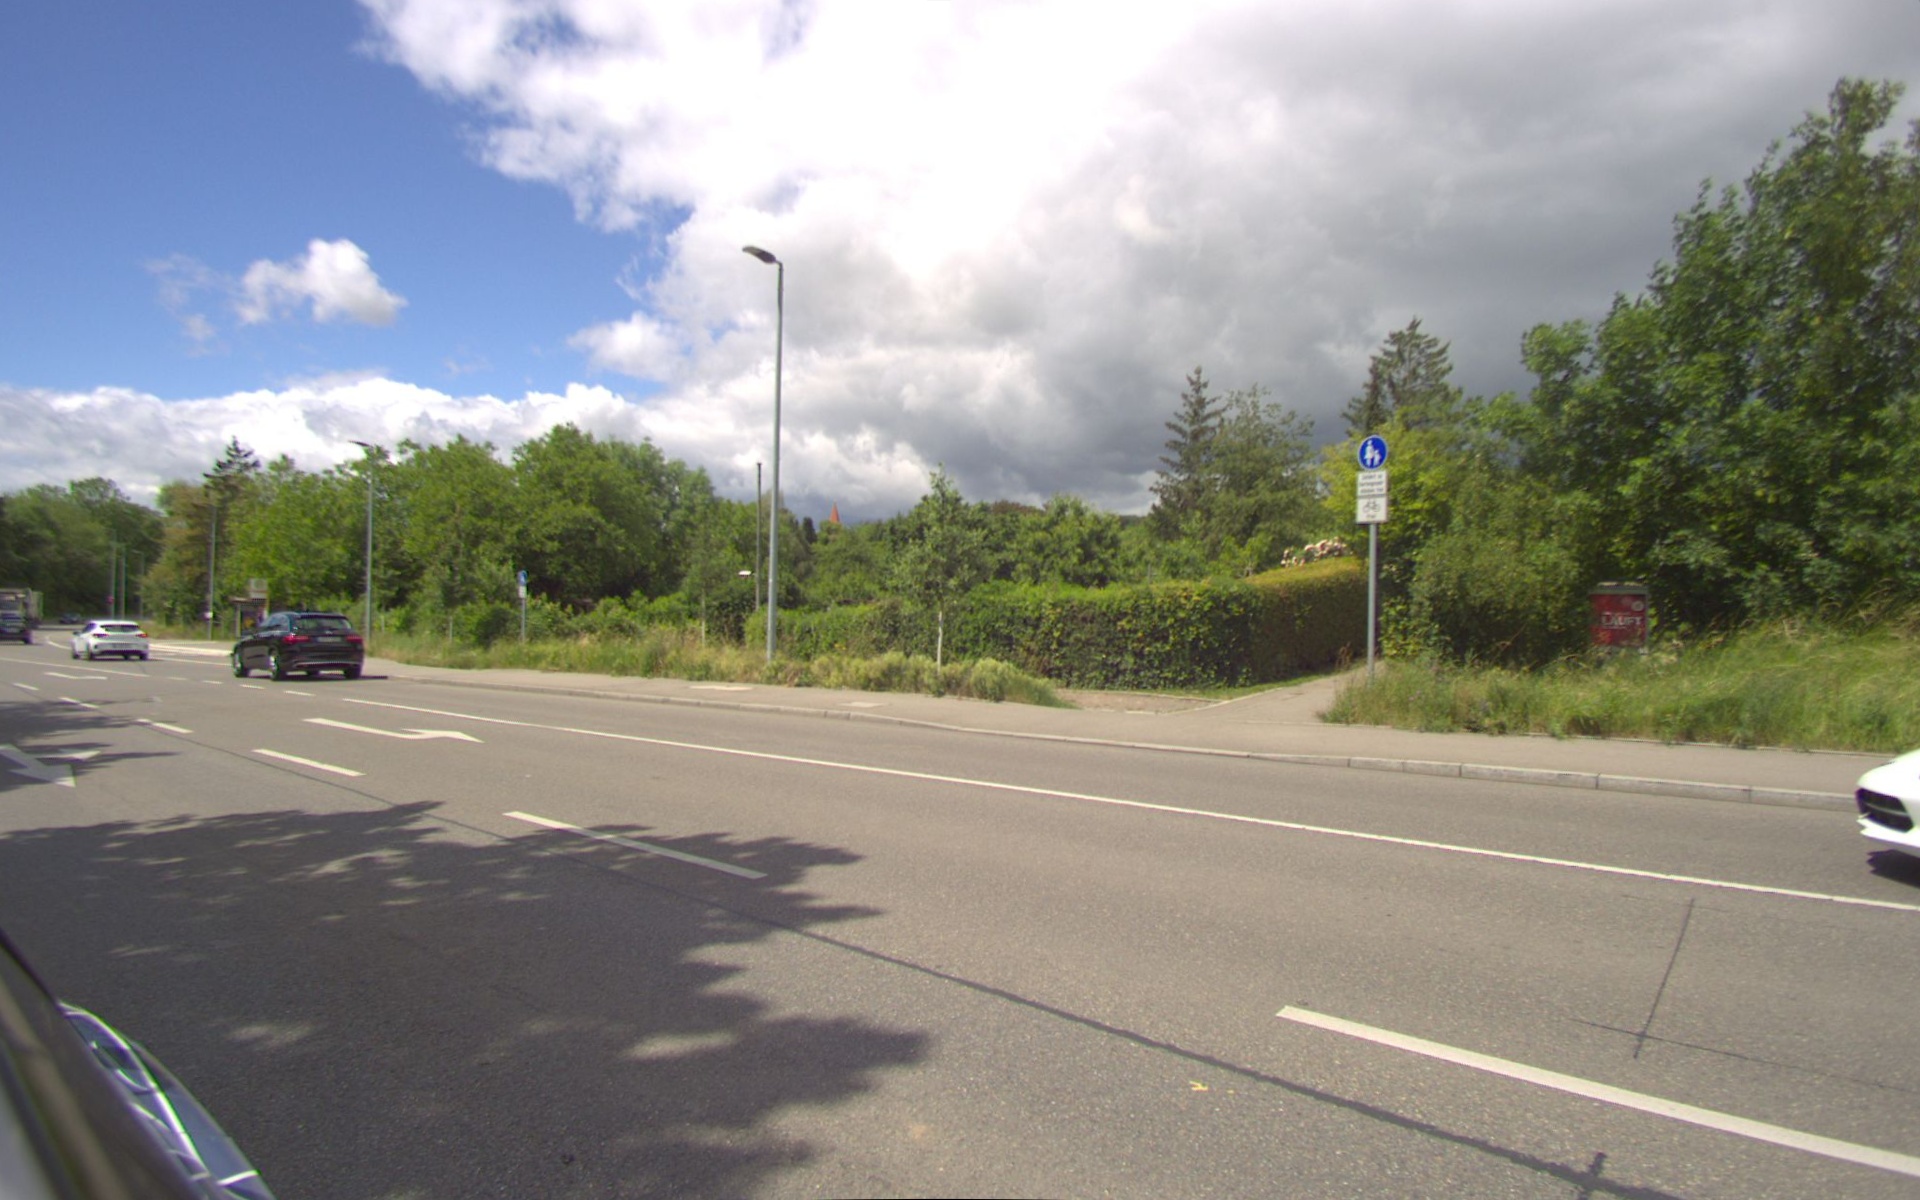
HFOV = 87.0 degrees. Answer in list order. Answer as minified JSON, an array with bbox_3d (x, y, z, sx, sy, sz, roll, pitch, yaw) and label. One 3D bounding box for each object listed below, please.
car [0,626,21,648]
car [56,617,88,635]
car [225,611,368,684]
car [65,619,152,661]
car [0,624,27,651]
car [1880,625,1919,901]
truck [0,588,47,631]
[{"bbox_3d":[-67.989,2.620,71.694,4.629,1.569,1.802,-2,-4,43],"label":"car"},{"bbox_3d":[-105.778,3.132,120.571,1.965,2.029,4.013,3,-2,-29],"label":"car"},{"bbox_3d":[-16.584,1.138,25.203,4.530,1.667,1.802,-1,-2,41],"label":"car"},{"bbox_3d":[-31.260,1.444,37.117,3.896,1.453,1.748,-1,-2,40],"label":"car"},{"bbox_3d":[-54.110,2.072,56.968,4.373,1.453,1.748,-1,-2,40],"label":"car"},{"bbox_3d":[6.798,0.769,4.012,4.608,1.301,1.884,-1,-2,42],"label":"car"},{"bbox_3d":[-90.900,0.875,96.941,3.188,3.890,9.902,3,-2,-32],"label":"truck"}]
